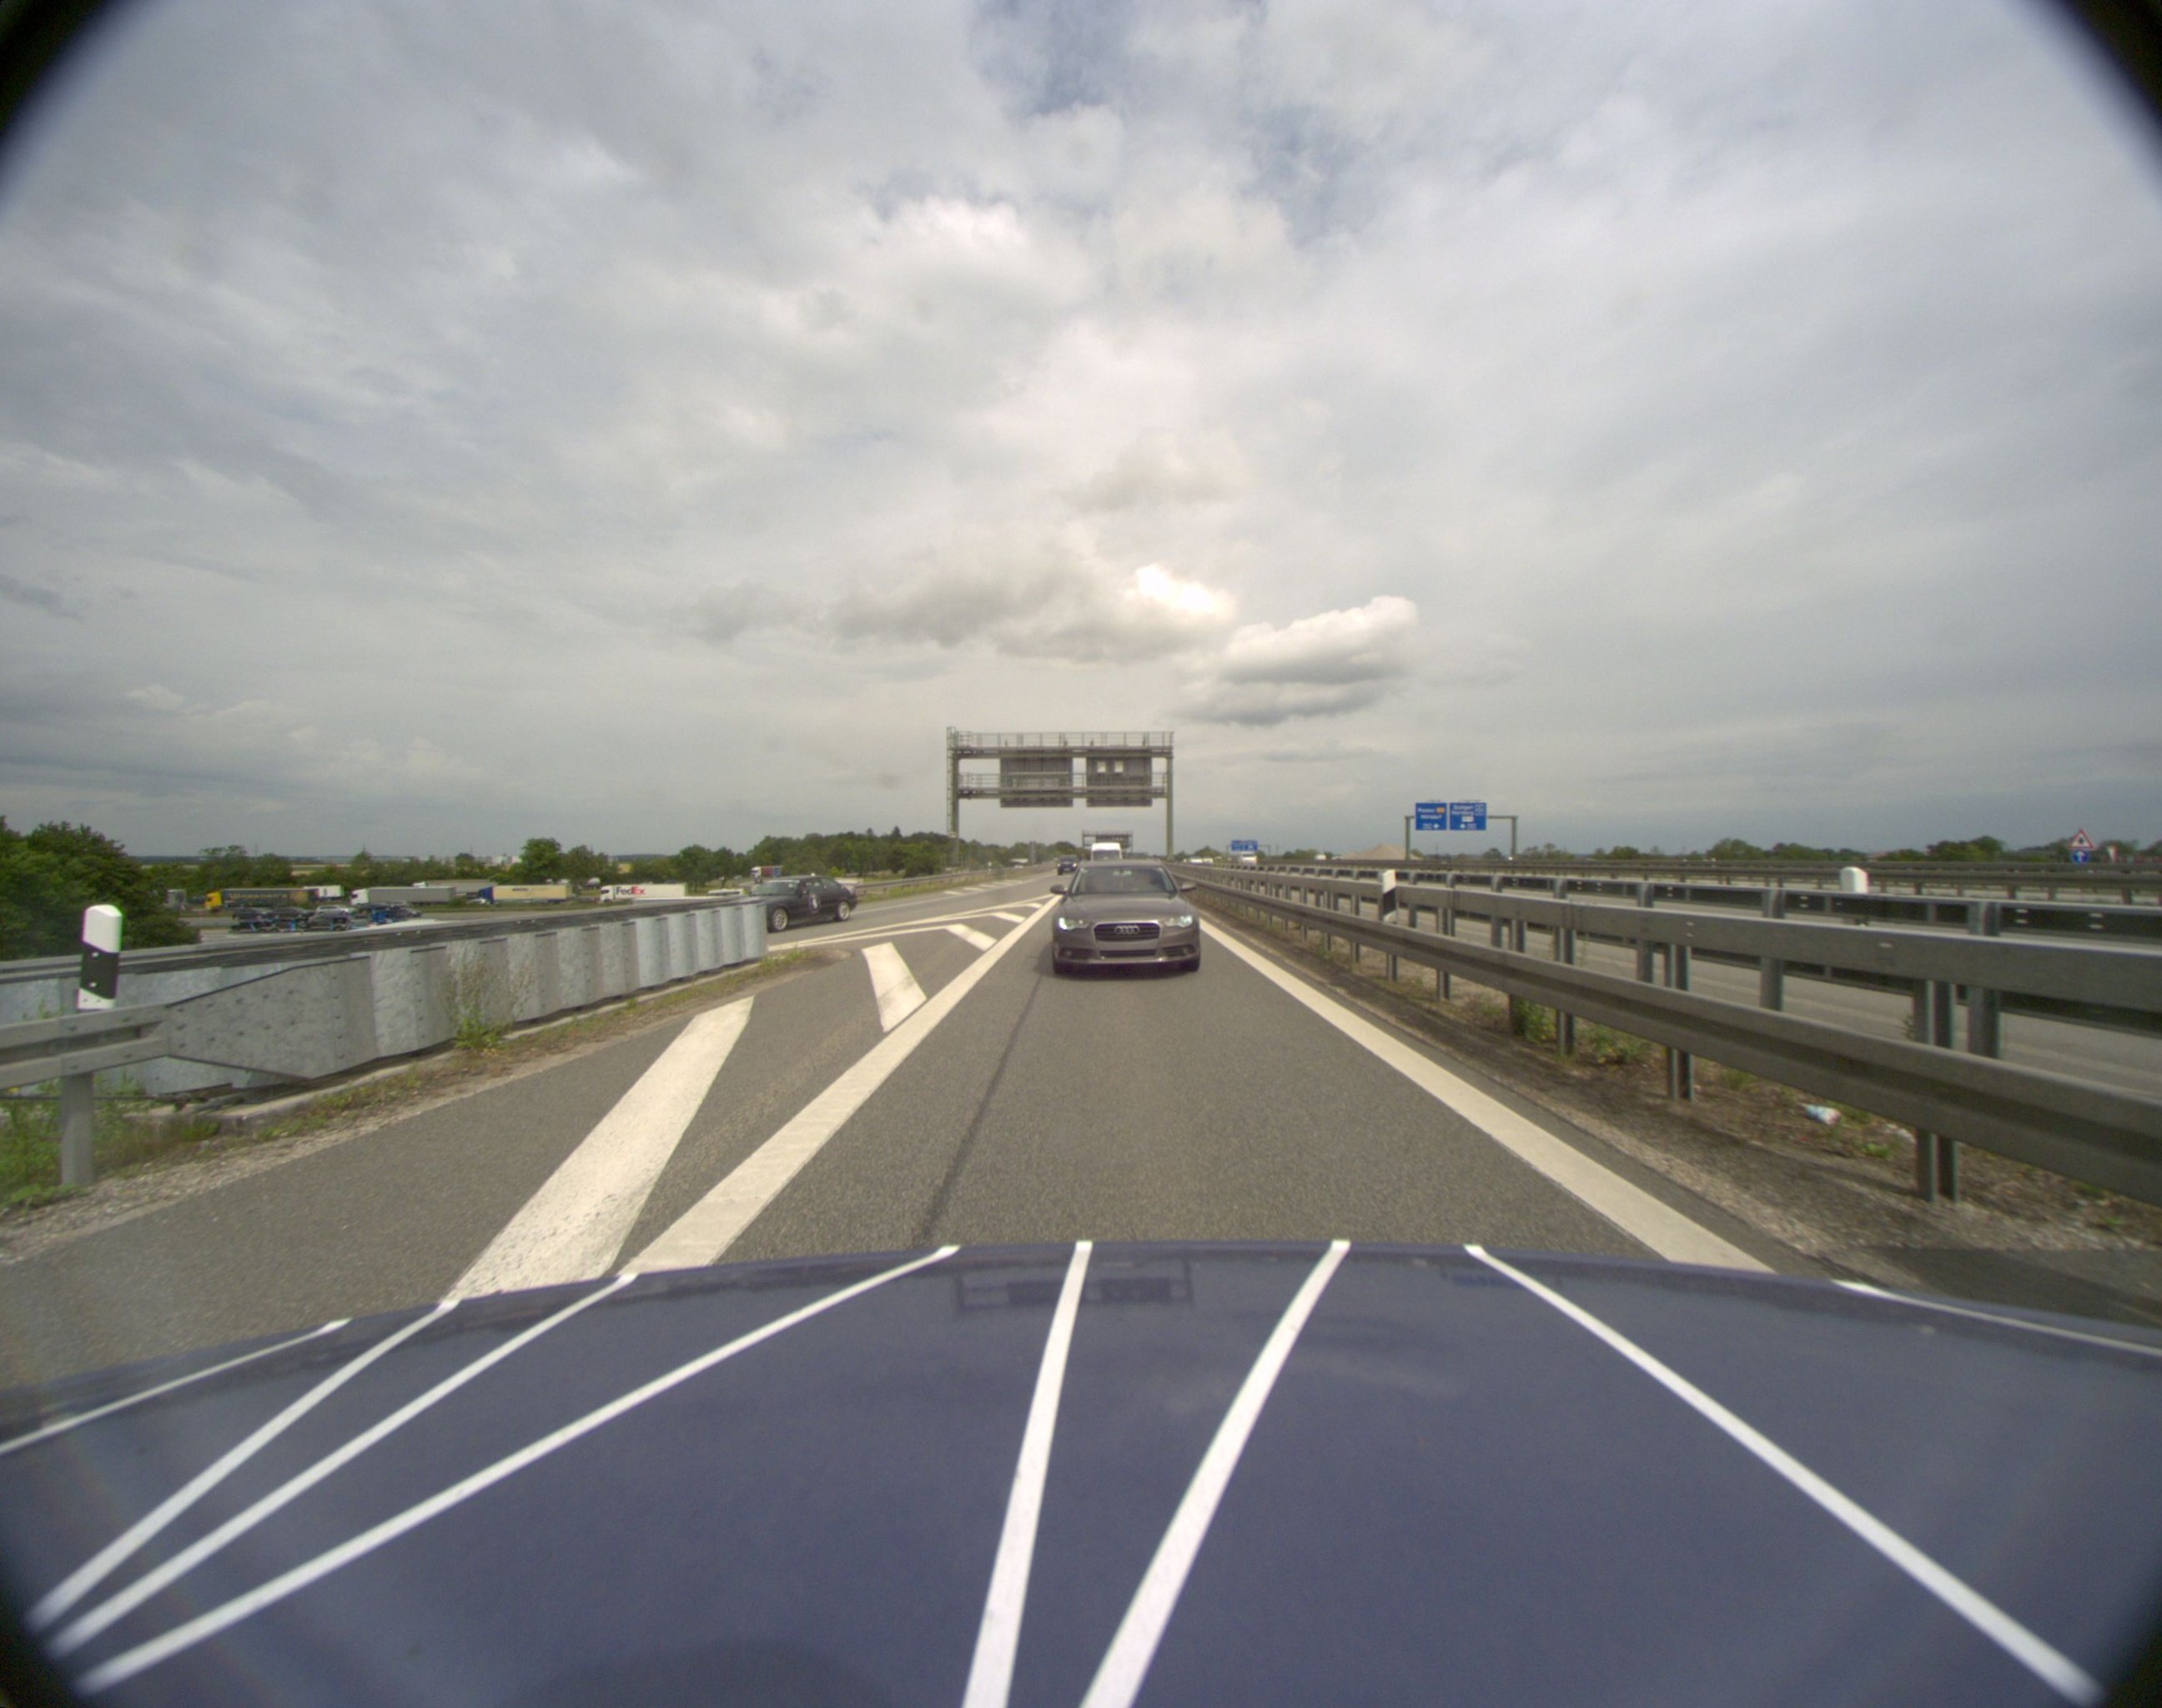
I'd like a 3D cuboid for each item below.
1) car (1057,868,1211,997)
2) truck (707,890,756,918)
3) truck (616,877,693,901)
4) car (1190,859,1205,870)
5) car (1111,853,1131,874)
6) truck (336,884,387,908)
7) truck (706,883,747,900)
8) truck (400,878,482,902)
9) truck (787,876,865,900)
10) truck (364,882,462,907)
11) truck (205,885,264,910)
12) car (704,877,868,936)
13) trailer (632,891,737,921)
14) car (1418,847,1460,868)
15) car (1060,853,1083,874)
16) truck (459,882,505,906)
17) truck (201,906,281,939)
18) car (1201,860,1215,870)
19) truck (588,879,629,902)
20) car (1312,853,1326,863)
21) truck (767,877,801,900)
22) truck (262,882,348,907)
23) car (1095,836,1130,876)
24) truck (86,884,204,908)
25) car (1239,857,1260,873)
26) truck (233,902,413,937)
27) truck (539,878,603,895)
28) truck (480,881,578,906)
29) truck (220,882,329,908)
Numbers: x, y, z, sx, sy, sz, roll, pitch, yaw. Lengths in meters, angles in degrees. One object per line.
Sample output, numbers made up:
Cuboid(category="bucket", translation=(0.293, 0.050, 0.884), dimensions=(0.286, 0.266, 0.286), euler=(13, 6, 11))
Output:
Cuboid(category="car", translation=(0.669, 0.958, 10.839), dimensions=(1.747, 1.380, 4.000), euler=(-1, 0, 2))
Cuboid(category="truck", translation=(-55.462, 7.927, 120.678), dimensions=(6.531, 4.075, 2.987), euler=(-1, -1, -11))
Cuboid(category="truck", translation=(-91.666, 7.548, 163.665), dimensions=(13.794, 4.527, 4.005), euler=(-1, -1, -12))
Cuboid(category="car", translation=(20.027, 1.852, 131.133), dimensions=(1.998, 1.739, 4.001), euler=(-2, -1, 1))
Cuboid(category="car", translation=(3.863, 0.943, 73.452), dimensions=(1.845, 1.870, 4.290), euler=(-2, -1, 3))
Cuboid(category="truck", translation=(-144.713, 8.369, 152.934), dimensions=(6.294, 4.484, 3.929), euler=(-2, 0, -10))
Cuboid(category="truck", translation=(-75.621, 7.989, 162.217), dimensions=(7.568, 3.177, 2.230), euler=(-1, -1, -11))
Cuboid(category="truck", translation=(-156.933, 8.750, 186.571), dimensions=(3.851, 5.183, 14.889), euler=(-2, -1, 40))
Cuboid(category="truck", translation=(-57.282, 7.534, 171.166), dimensions=(16.175, 4.672, 3.990), euler=(-1, 0, -10))
Cuboid(category="truck", translation=(-135.715, 8.173, 154.600), dimensions=(14.887, 4.527, 4.005), euler=(-1, -1, -10))
Cuboid(category="truck", translation=(-165.263, 8.417, 148.429), dimensions=(6.499, 4.471, 4.069), euler=(-2, 0, -9))
Cuboid(category="car", translation=(-7.626, 1.320, 20.171), dimensions=(1.706, 1.273, 4.371), euler=(-2, -1, 16))
Cuboid(category="trailer", translation=(-62.106, 8.081, 119.341), dimensions=(14.252, 4.075, 2.987), euler=(-1, -1, -11))
Cuboid(category="car", translation=(33.865, 0.348, 72.010), dimensions=(1.998, 1.851, 4.505), euler=(-4, -1, 3))
Cuboid(category="car", translation=(-0.838, 0.872, 69.933), dimensions=(1.929, 1.761, 4.001), euler=(-2, -1, 2))
Cuboid(category="truck", translation=(-124.066, 8.287, 157.437), dimensions=(6.295, 4.484, 3.929), euler=(-2, 0, -11))
Cuboid(category="truck", translation=(-119.144, 9.686, 107.891), dimensions=(6.422, 3.968, 3.857), euler=(-1, 1, -14))
Cuboid(category="car", translation=(24.727, 2.072, 147.877), dimensions=(1.998, 1.870, 4.001), euler=(-2, -1, 1))
Cuboid(category="truck", translation=(-100.618, 7.678, 161.794), dimensions=(6.294, 4.484, 3.929), euler=(-2, 0, -11))
Cuboid(category="car", translation=(55.808, 0.982, 177.994), dimensions=(1.998, 2.292, 4.492), euler=(-2, -1, 3))
Cuboid(category="truck", translation=(-66.244, 7.633, 169.512), dimensions=(6.295, 4.647, 3.928), euler=(-2, 0, -11))
Cuboid(category="truck", translation=(-174.033, 8.982, 170.769), dimensions=(13.026, 5.010, 3.942), euler=(-1, -1, -39))
Cuboid(category="car", translation=(2.109, 0.190, 50.705), dimensions=(2.119, 2.439, 6.153), euler=(-2, -1, 2))
Cuboid(category="truck", translation=(-178.099, 7.901, 144.733), dimensions=(14.896, 4.007, 4.140), euler=(-1, -1, -11))
Cuboid(category="car", translation=(22.780, 1.523, 102.839), dimensions=(1.998, 2.001, 4.467), euler=(-2, -1, 4))
Cuboid(category="truck", translation=(-109.501, 9.415, 110.247), dimensions=(19.054, 4.036, 3.989), euler=(-1, 0, -14))
Cuboid(category="truck", translation=(-140.637, 8.868, 209.812), dimensions=(3.078, 4.065, 14.763), euler=(-2, -1, 31))
Cuboid(category="truck", translation=(-115.377, 8.163, 159.171), dimensions=(16.369, 4.527, 4.005), euler=(-1, -1, -11))
Cuboid(category="truck", translation=(-158.409, 7.994, 149.493), dimensions=(15.306, 4.527, 4.006), euler=(-2, -1, -9))
